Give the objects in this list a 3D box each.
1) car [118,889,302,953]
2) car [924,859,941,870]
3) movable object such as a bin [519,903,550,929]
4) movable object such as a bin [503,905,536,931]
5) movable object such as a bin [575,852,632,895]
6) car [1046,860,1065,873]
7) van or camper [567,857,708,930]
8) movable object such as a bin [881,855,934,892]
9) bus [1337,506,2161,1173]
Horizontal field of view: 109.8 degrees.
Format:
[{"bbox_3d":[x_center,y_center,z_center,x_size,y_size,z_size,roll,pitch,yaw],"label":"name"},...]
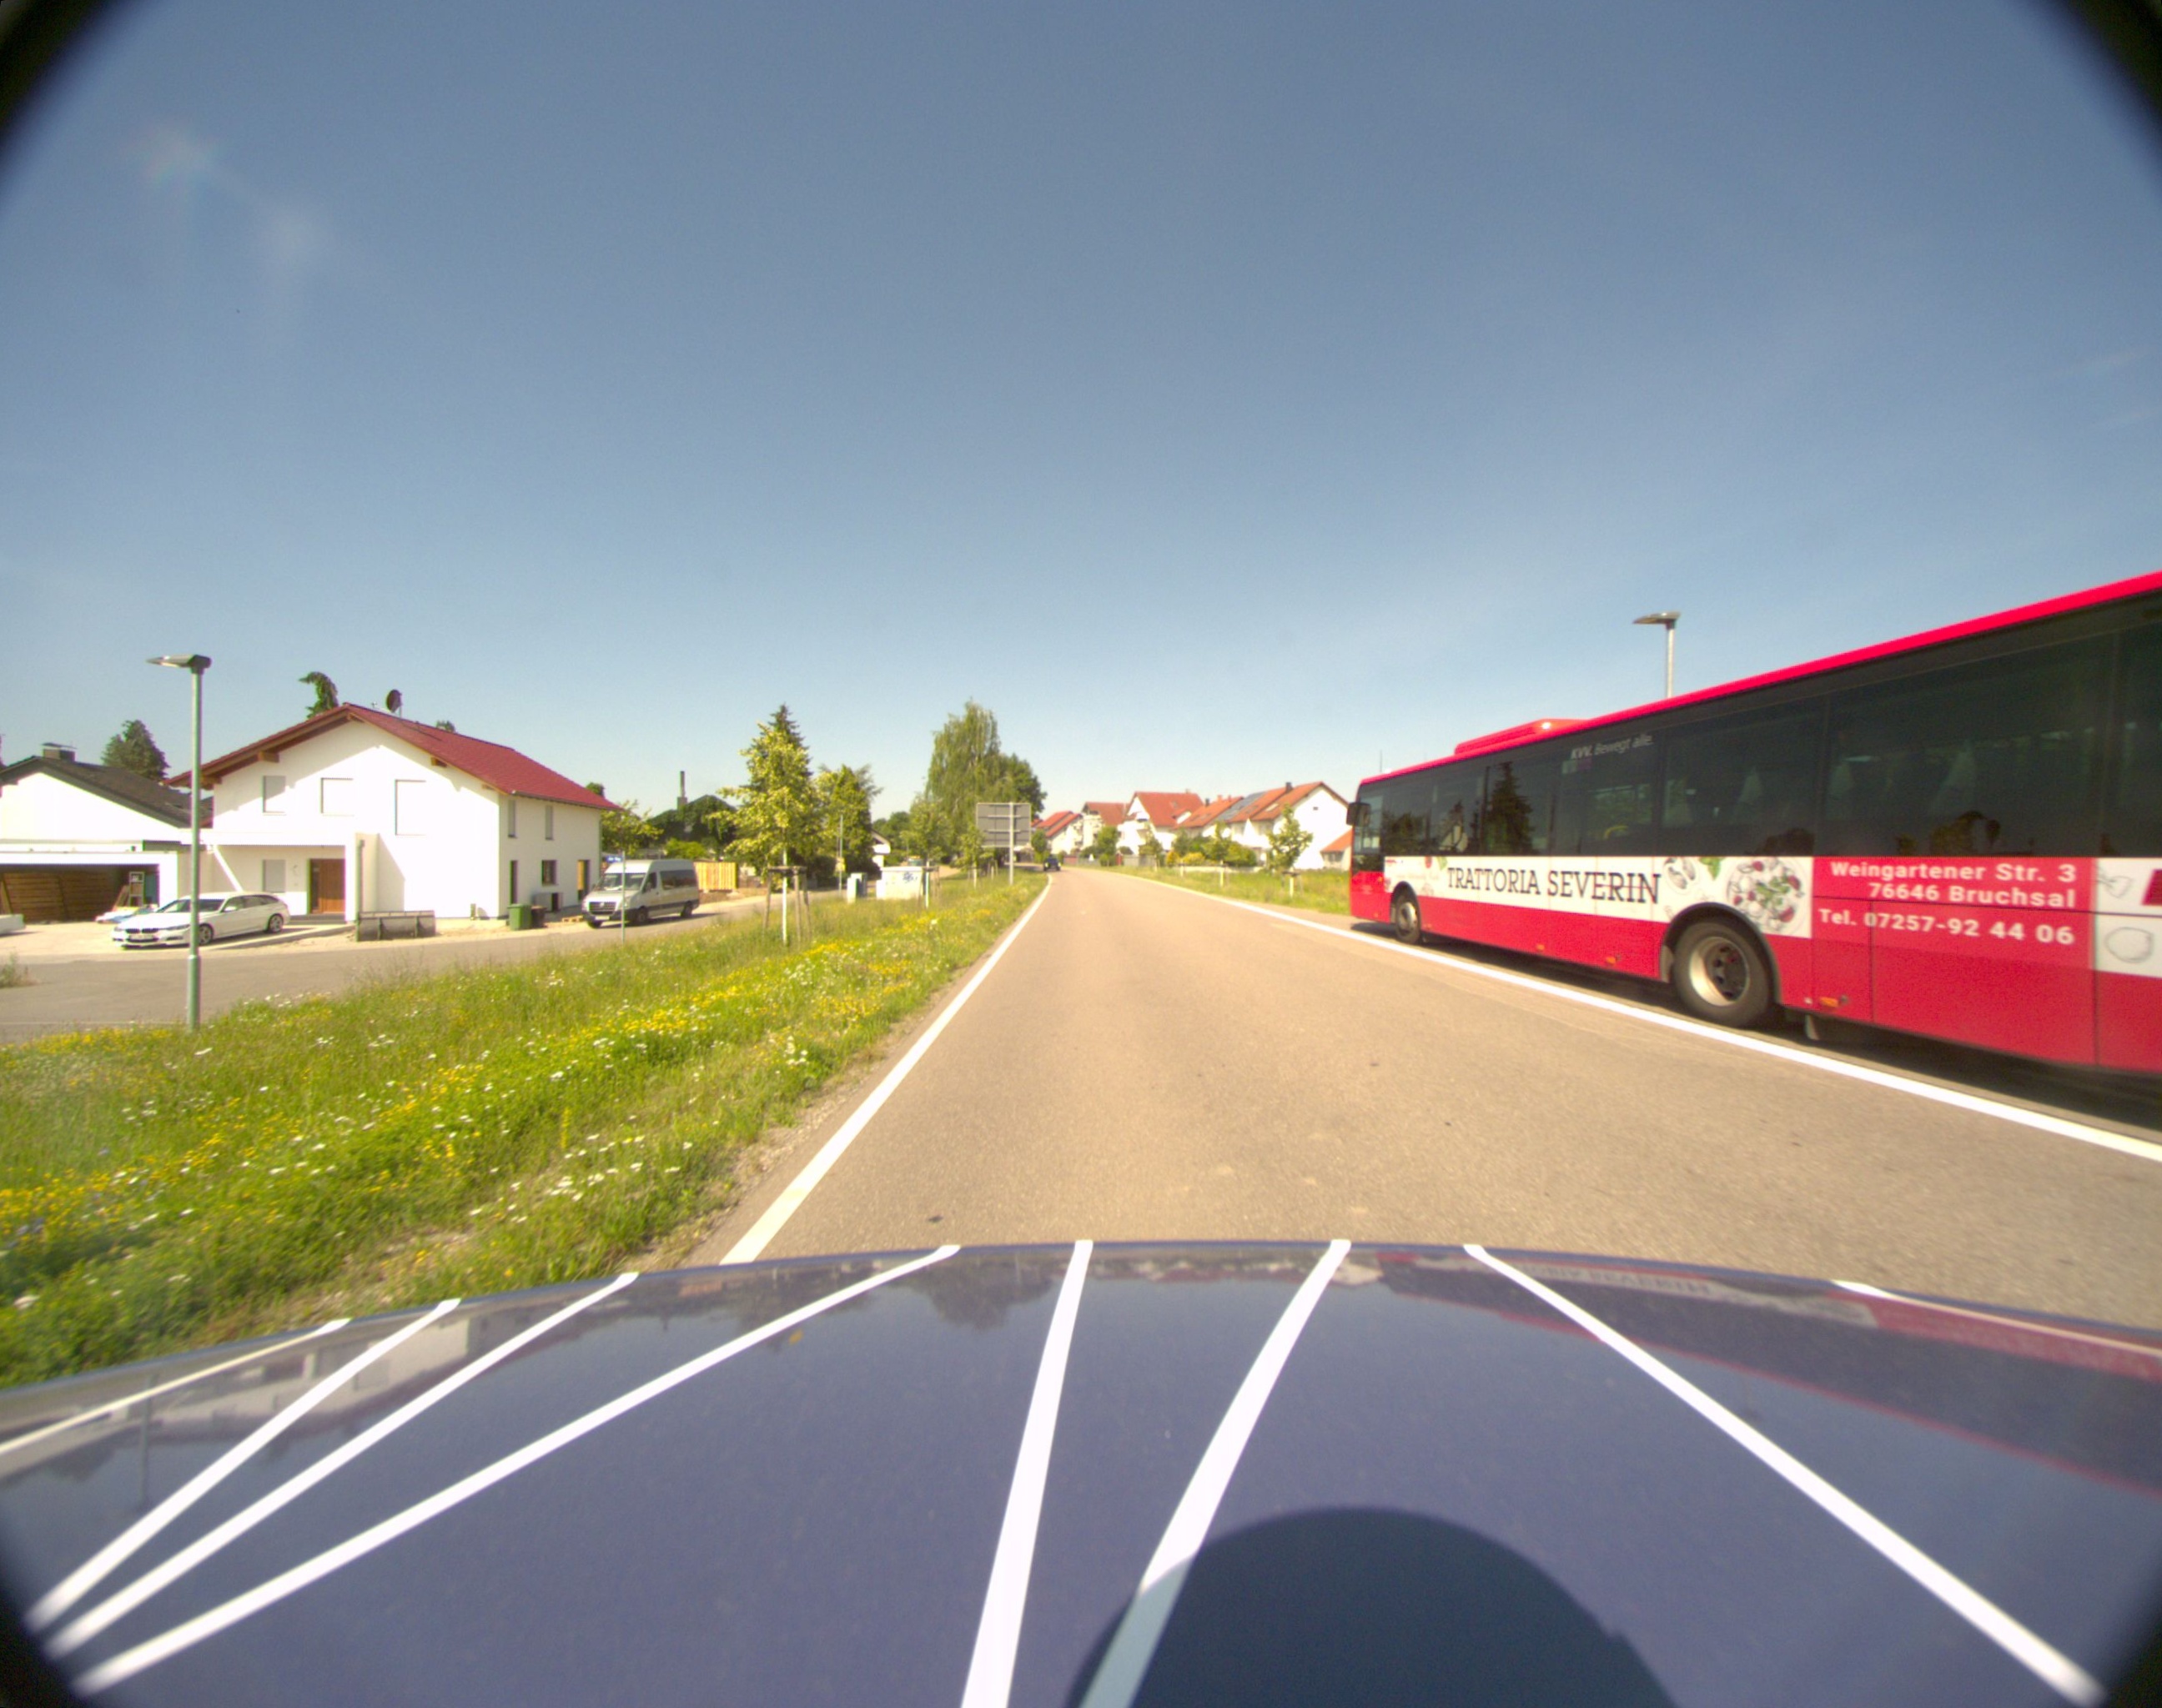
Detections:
[{"bbox_3d":[-27.317,2.021,24.082,1.564,1.548,4.481,-2,1,-15],"label":"car"},{"bbox_3d":[-21.640,1.473,110.999,1.864,1.437,4.166,-2,1,-4],"label":"car"},{"bbox_3d":[-20.494,2.330,28.490,0.694,0.932,0.639,-1,0,4],"label":"movable object such as a bin"},{"bbox_3d":[-20.538,2.338,27.799,0.694,0.932,0.639,-1,0,4],"label":"movable object such as a bin"},{"bbox_3d":[-29.545,1.175,47.001,2.884,2.542,1.782,-1,0,-34],"label":"movable object such as a bin"},{"bbox_3d":[-3.177,1.512,93.671,1.935,1.552,3.997,1,0,-9],"label":"car"},{"bbox_3d":[-17.789,1.464,30.987,2.177,2.586,6.029,-1,1,0],"label":"van or camper"},{"bbox_3d":[-12.410,1.329,54.894,2.322,2.449,6.944,-1,1,-1],"label":"movable object such as a bin"},{"bbox_3d":[6.648,-0.034,9.144,2.801,3.267,12.228,2,0,0],"label":"bus"}]
